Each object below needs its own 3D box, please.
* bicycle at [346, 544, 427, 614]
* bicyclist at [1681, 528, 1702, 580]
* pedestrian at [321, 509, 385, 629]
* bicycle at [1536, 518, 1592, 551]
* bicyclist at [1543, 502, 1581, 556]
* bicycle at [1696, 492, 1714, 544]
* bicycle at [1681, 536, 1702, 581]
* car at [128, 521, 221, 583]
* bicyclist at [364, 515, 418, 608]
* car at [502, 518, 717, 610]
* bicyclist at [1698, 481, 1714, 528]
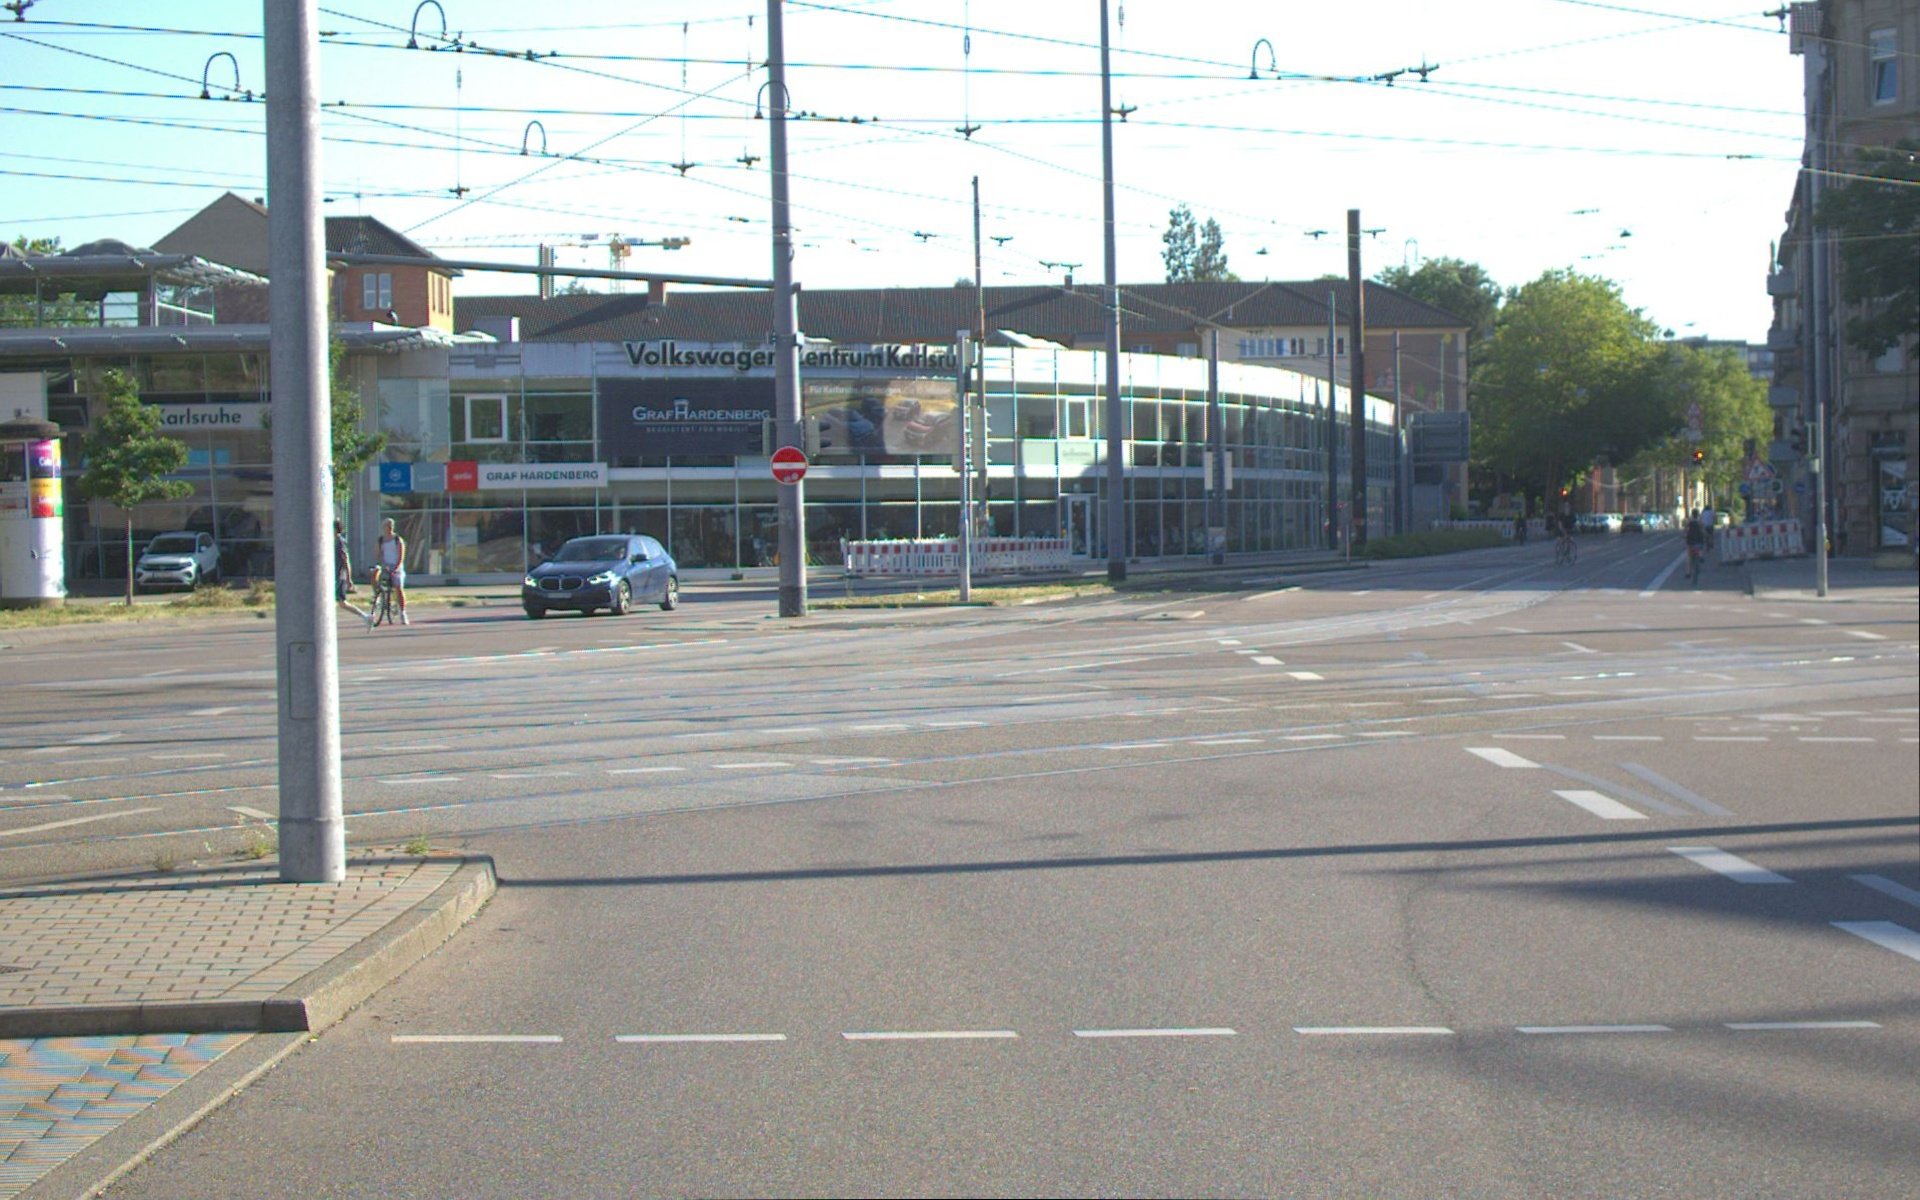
[{"bbox_3d":[-9.939,-0.358,59.647,0.613,1.185,1.867,1,1,17],"label":"bicycle"},{"bbox_3d":[15.647,-0.985,73.513,0.408,1.112,0.399,1,0,11],"label":"bicyclist"},{"bbox_3d":[-9.633,-0.491,54.561,0.795,1.880,0.758,1,0,7],"label":"pedestrian"},{"bbox_3d":[17.822,-1.932,101.428,0.657,0.949,1.600,0,1,-35],"label":"bicycle"},{"bbox_3d":[17.774,-2.095,101.456,0.771,1.571,0.762,1,0,-34],"label":"bicyclist"},{"bbox_3d":[29.243,-3.222,134.892,0.618,2.007,2.398,1,0,13],"label":"bicycle"},{"bbox_3d":[15.641,-0.880,73.514,0.410,0.938,1.844,1,1,12],"label":"bicycle"},{"bbox_3d":[-22.677,-1.377,99.372,1.993,1.744,4.001,1,1,-4],"label":"car"},{"bbox_3d":[-9.891,-0.668,59.789,0.598,1.610,0.822,1,0,17],"label":"bicyclist"},{"bbox_3d":[-6.266,-0.637,61.826,1.996,1.579,3.994,1,1,27],"label":"car"},{"bbox_3d":[29.245,-3.739,134.735,0.599,1.803,0.827,1,0,13],"label":"bicyclist"}]
